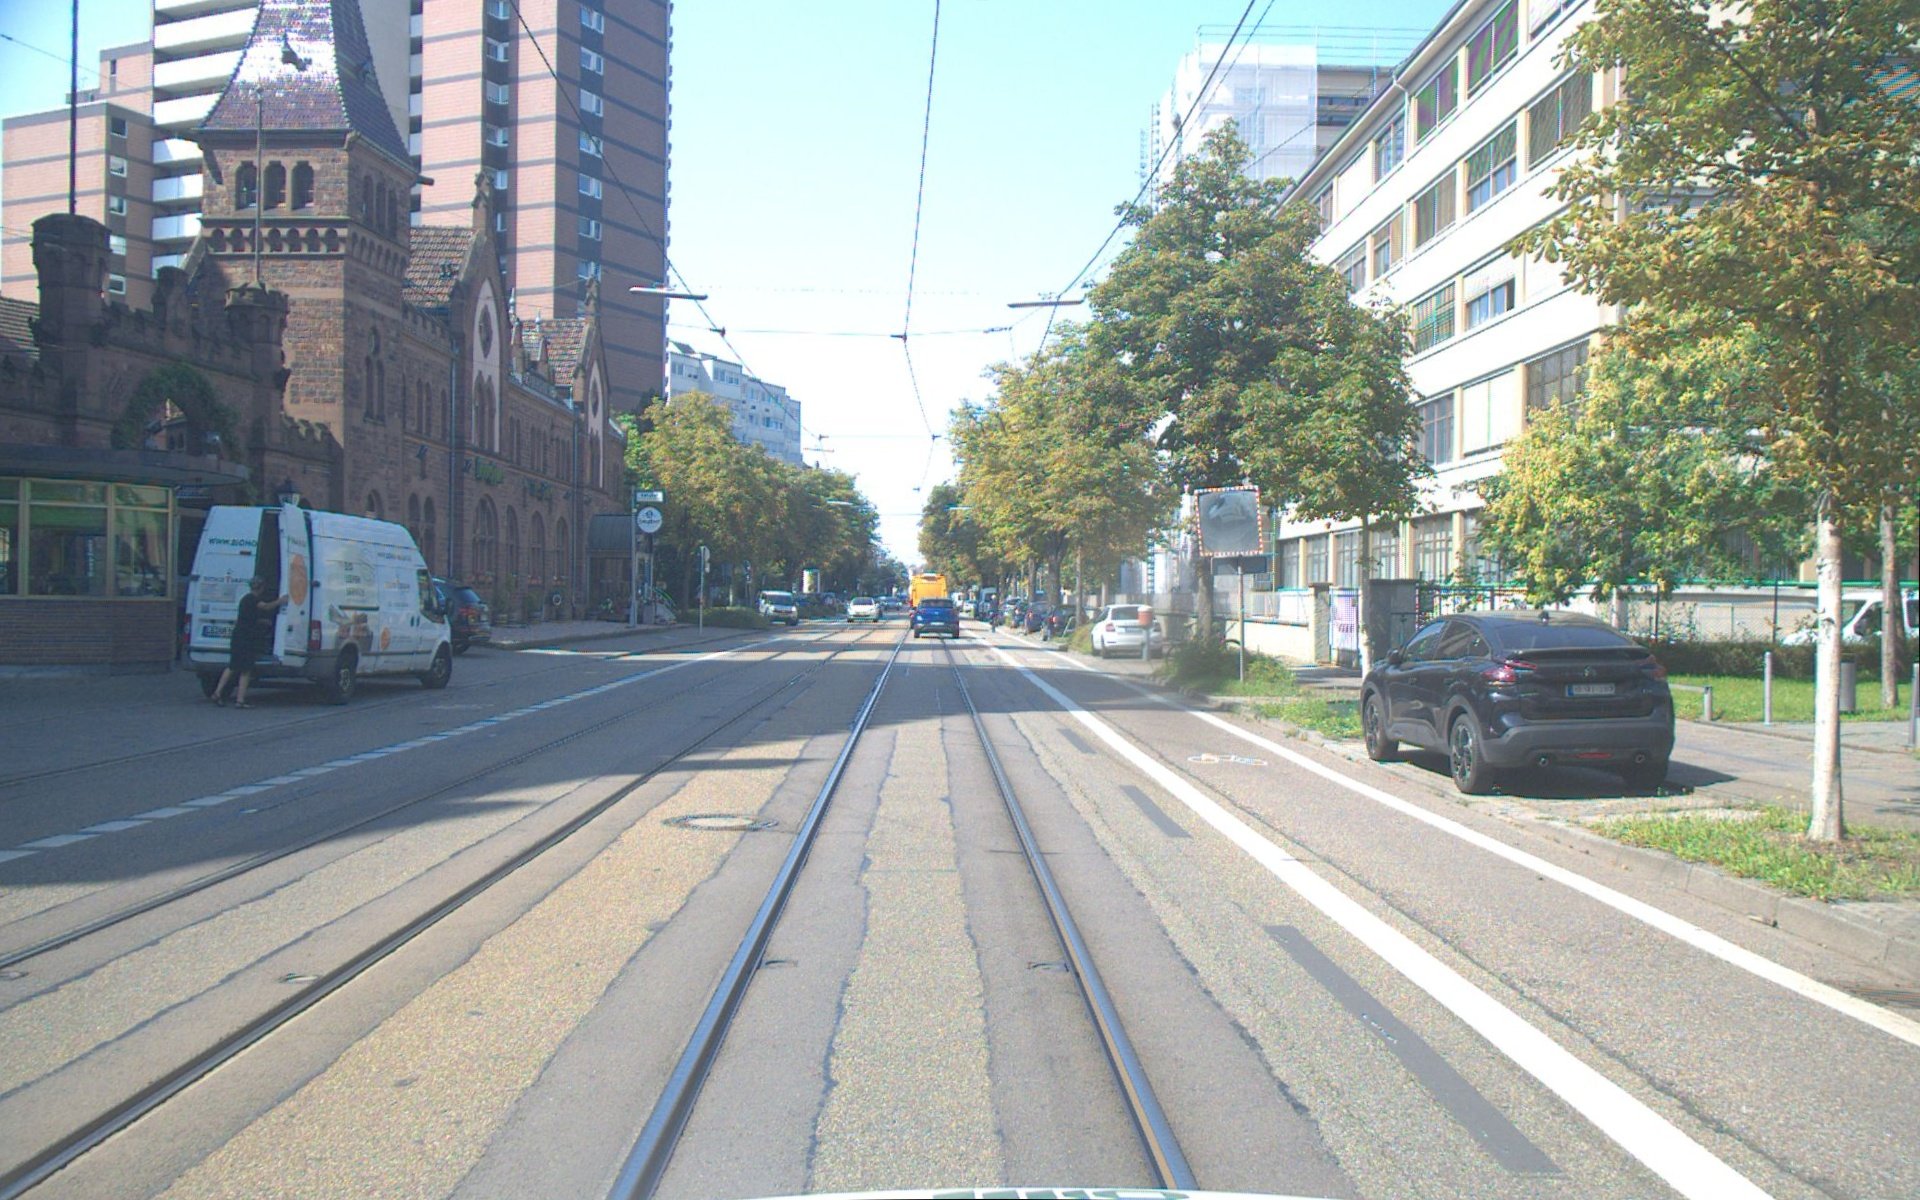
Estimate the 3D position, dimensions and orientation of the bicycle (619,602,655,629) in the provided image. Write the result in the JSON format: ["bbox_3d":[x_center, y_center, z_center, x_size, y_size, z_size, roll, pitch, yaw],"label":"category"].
[{"bbox_3d":[-14.145,0.678,72.391,1.423,1.112,0.399,4,-1,-6],"label":"bicycle"}]

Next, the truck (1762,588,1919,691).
[{"bbox_3d":[22.559,0.953,39.786,5.394,2.367,2.298,1,0,0],"label":"truck"}]

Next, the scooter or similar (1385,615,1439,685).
[{"bbox_3d":[8.641,0.944,31.667,0.544,1.281,1.818,1,0,1],"label":"scooter or similar"}]

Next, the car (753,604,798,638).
[{"bbox_3d":[-10.407,1.152,93.078,1.720,1.828,3.979,1,0,-19],"label":"car"}]

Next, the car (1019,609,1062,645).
[{"bbox_3d":[3.694,1.233,76.552,1.707,1.583,4.216,0,0,-1],"label":"car"}]

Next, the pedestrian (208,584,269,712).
[{"bbox_3d":[-9.323,0.615,21.376,0.489,1.627,0.549,1,-1,41],"label":"pedestrian"}]

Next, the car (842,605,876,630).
[{"bbox_3d":[-6.174,1.044,101.718,1.809,1.518,4.866,0,0,-1],"label":"car"}]

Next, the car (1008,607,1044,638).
[{"bbox_3d":[3.549,1.189,89.648,1.601,1.612,4.186,1,0,-2],"label":"car"}]

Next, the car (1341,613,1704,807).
[{"bbox_3d":[5.119,0.910,15.772,1.720,1.542,4.607,0,0,-2],"label":"car"}]

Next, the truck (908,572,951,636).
[{"bbox_3d":[-1.557,0.208,84.215,2.092,3.179,6.083,0,0,-1],"label":"truck"}]

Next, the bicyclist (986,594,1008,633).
[{"bbox_3d":[1.785,0.662,79.648,1.011,1.844,1.016,1,0,-2],"label":"bicyclist"}]

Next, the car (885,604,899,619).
[{"bbox_3d":[-8.471,1.418,205.741,1.744,1.713,4.345,1,0,-2],"label":"car"}]

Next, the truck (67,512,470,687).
[{"bbox_3d":[-12.224,-0.045,29.482,6.189,2.582,2.132,4,1,3],"label":"truck"}]

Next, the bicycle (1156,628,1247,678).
[{"bbox_3d":[4.947,1.091,33.891,1.775,0.975,0.558,1,0,-2],"label":"bicycle"}]

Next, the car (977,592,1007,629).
[{"bbox_3d":[2.494,0.819,130.836,1.953,2.804,5.758,1,0,-2],"label":"car"}]

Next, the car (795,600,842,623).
[{"bbox_3d":[-12.729,1.036,149.074,3.970,2.049,1.826,2,-1,-45],"label":"car"}]

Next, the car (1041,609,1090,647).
[{"bbox_3d":[4.113,1.085,65.013,1.625,1.432,4.216,0,0,-1],"label":"car"}]

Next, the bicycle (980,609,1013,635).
[{"bbox_3d":[1.743,1.046,79.646,1.373,1.154,3.999,1,0,-1],"label":"bicycle"}]

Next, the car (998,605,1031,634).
[{"bbox_3d":[3.261,1.170,99.736,1.705,1.697,4.360,1,0,-2],"label":"car"}]

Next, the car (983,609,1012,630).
[{"bbox_3d":[2.710,1.400,120.243,1.869,1.457,4.290,1,0,-2],"label":"car"}]

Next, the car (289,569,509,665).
[{"bbox_3d":[-12.300,0.362,36.455,4.052,1.774,2.000,4,0,-1],"label":"car"}]

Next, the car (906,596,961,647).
[{"bbox_3d":[-1.042,0.819,65.150,2.092,1.891,5.566,0,0,-1],"label":"car"}]

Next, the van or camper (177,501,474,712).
[{"bbox_3d":[-9.205,0.093,24.709,2.069,2.722,5.955,1,0,0],"label":"van or camper"}]

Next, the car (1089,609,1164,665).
[{"bbox_3d":[4.645,1.006,46.643,1.625,1.507,4.216,0,0,-1],"label":"car"}]
